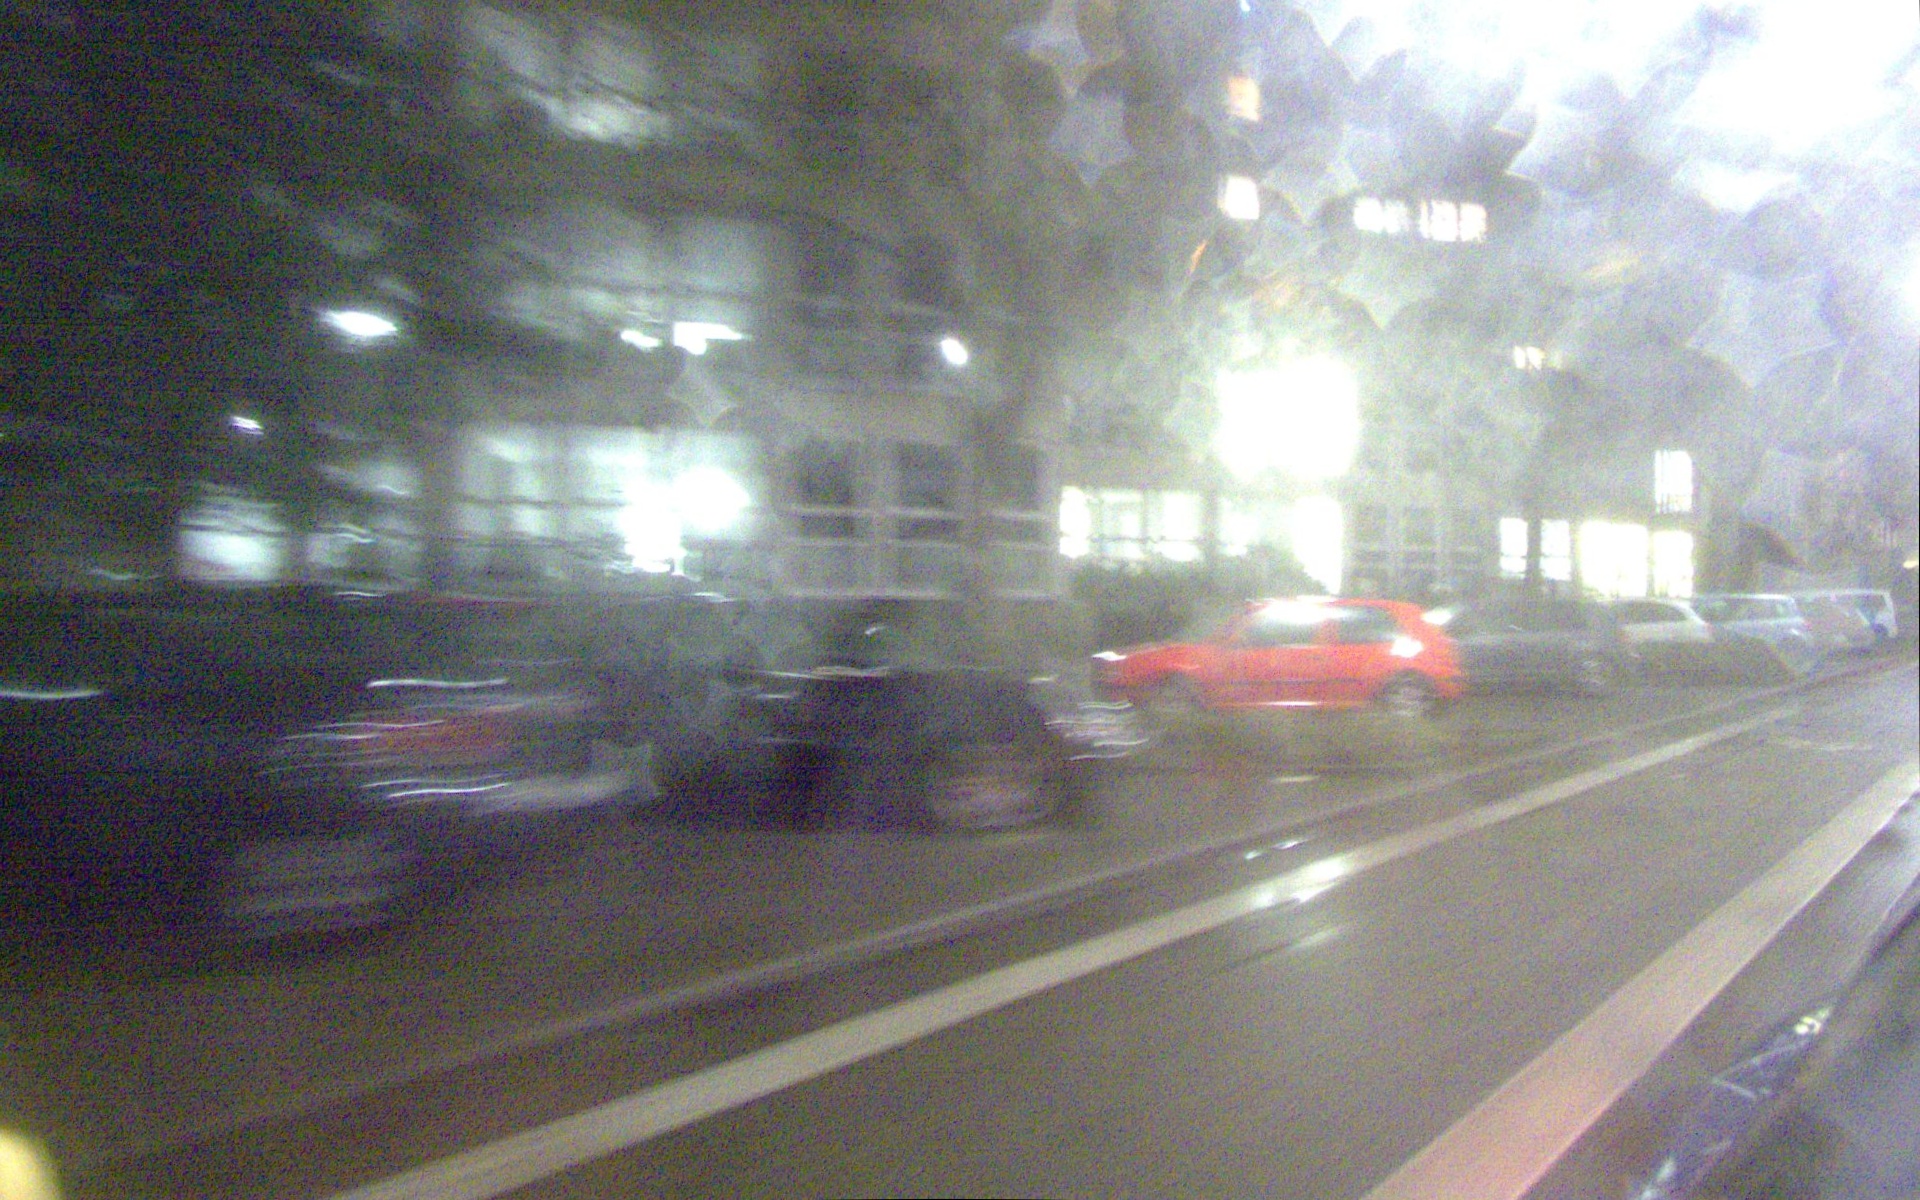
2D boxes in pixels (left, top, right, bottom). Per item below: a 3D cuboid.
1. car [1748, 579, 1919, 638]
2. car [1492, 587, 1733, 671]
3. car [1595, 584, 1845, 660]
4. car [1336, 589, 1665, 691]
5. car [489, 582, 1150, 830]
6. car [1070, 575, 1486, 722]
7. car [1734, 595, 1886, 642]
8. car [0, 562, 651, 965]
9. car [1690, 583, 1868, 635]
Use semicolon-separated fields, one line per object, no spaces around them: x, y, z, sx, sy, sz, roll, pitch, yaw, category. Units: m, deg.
27.832;0.246;32.267;3.897;1.793;1.664;0;1;13;car
12.806;0.544;20.033;3.602;1.546;1.715;0;1;4;car
16.392;0.453;22.021;3.946;1.546;1.797;0;1;8;car
8.132;0.575;15.553;4.091;1.463;1.652;0;0;7;car
-0.845;0.606;7.092;4.185;1.435;1.781;0;1;9;car
3.382;0.517;11.348;4.108;1.501;1.662;0;-1;2;car
23.614;0.492;28.198;2.890;1.238;1.507;0;1;3;car
-3.559;0.586;5.049;3.517;1.490;1.648;1;2;12;car
24.952;0.244;31.014;3.913;1.527;1.608;0;1;23;car
